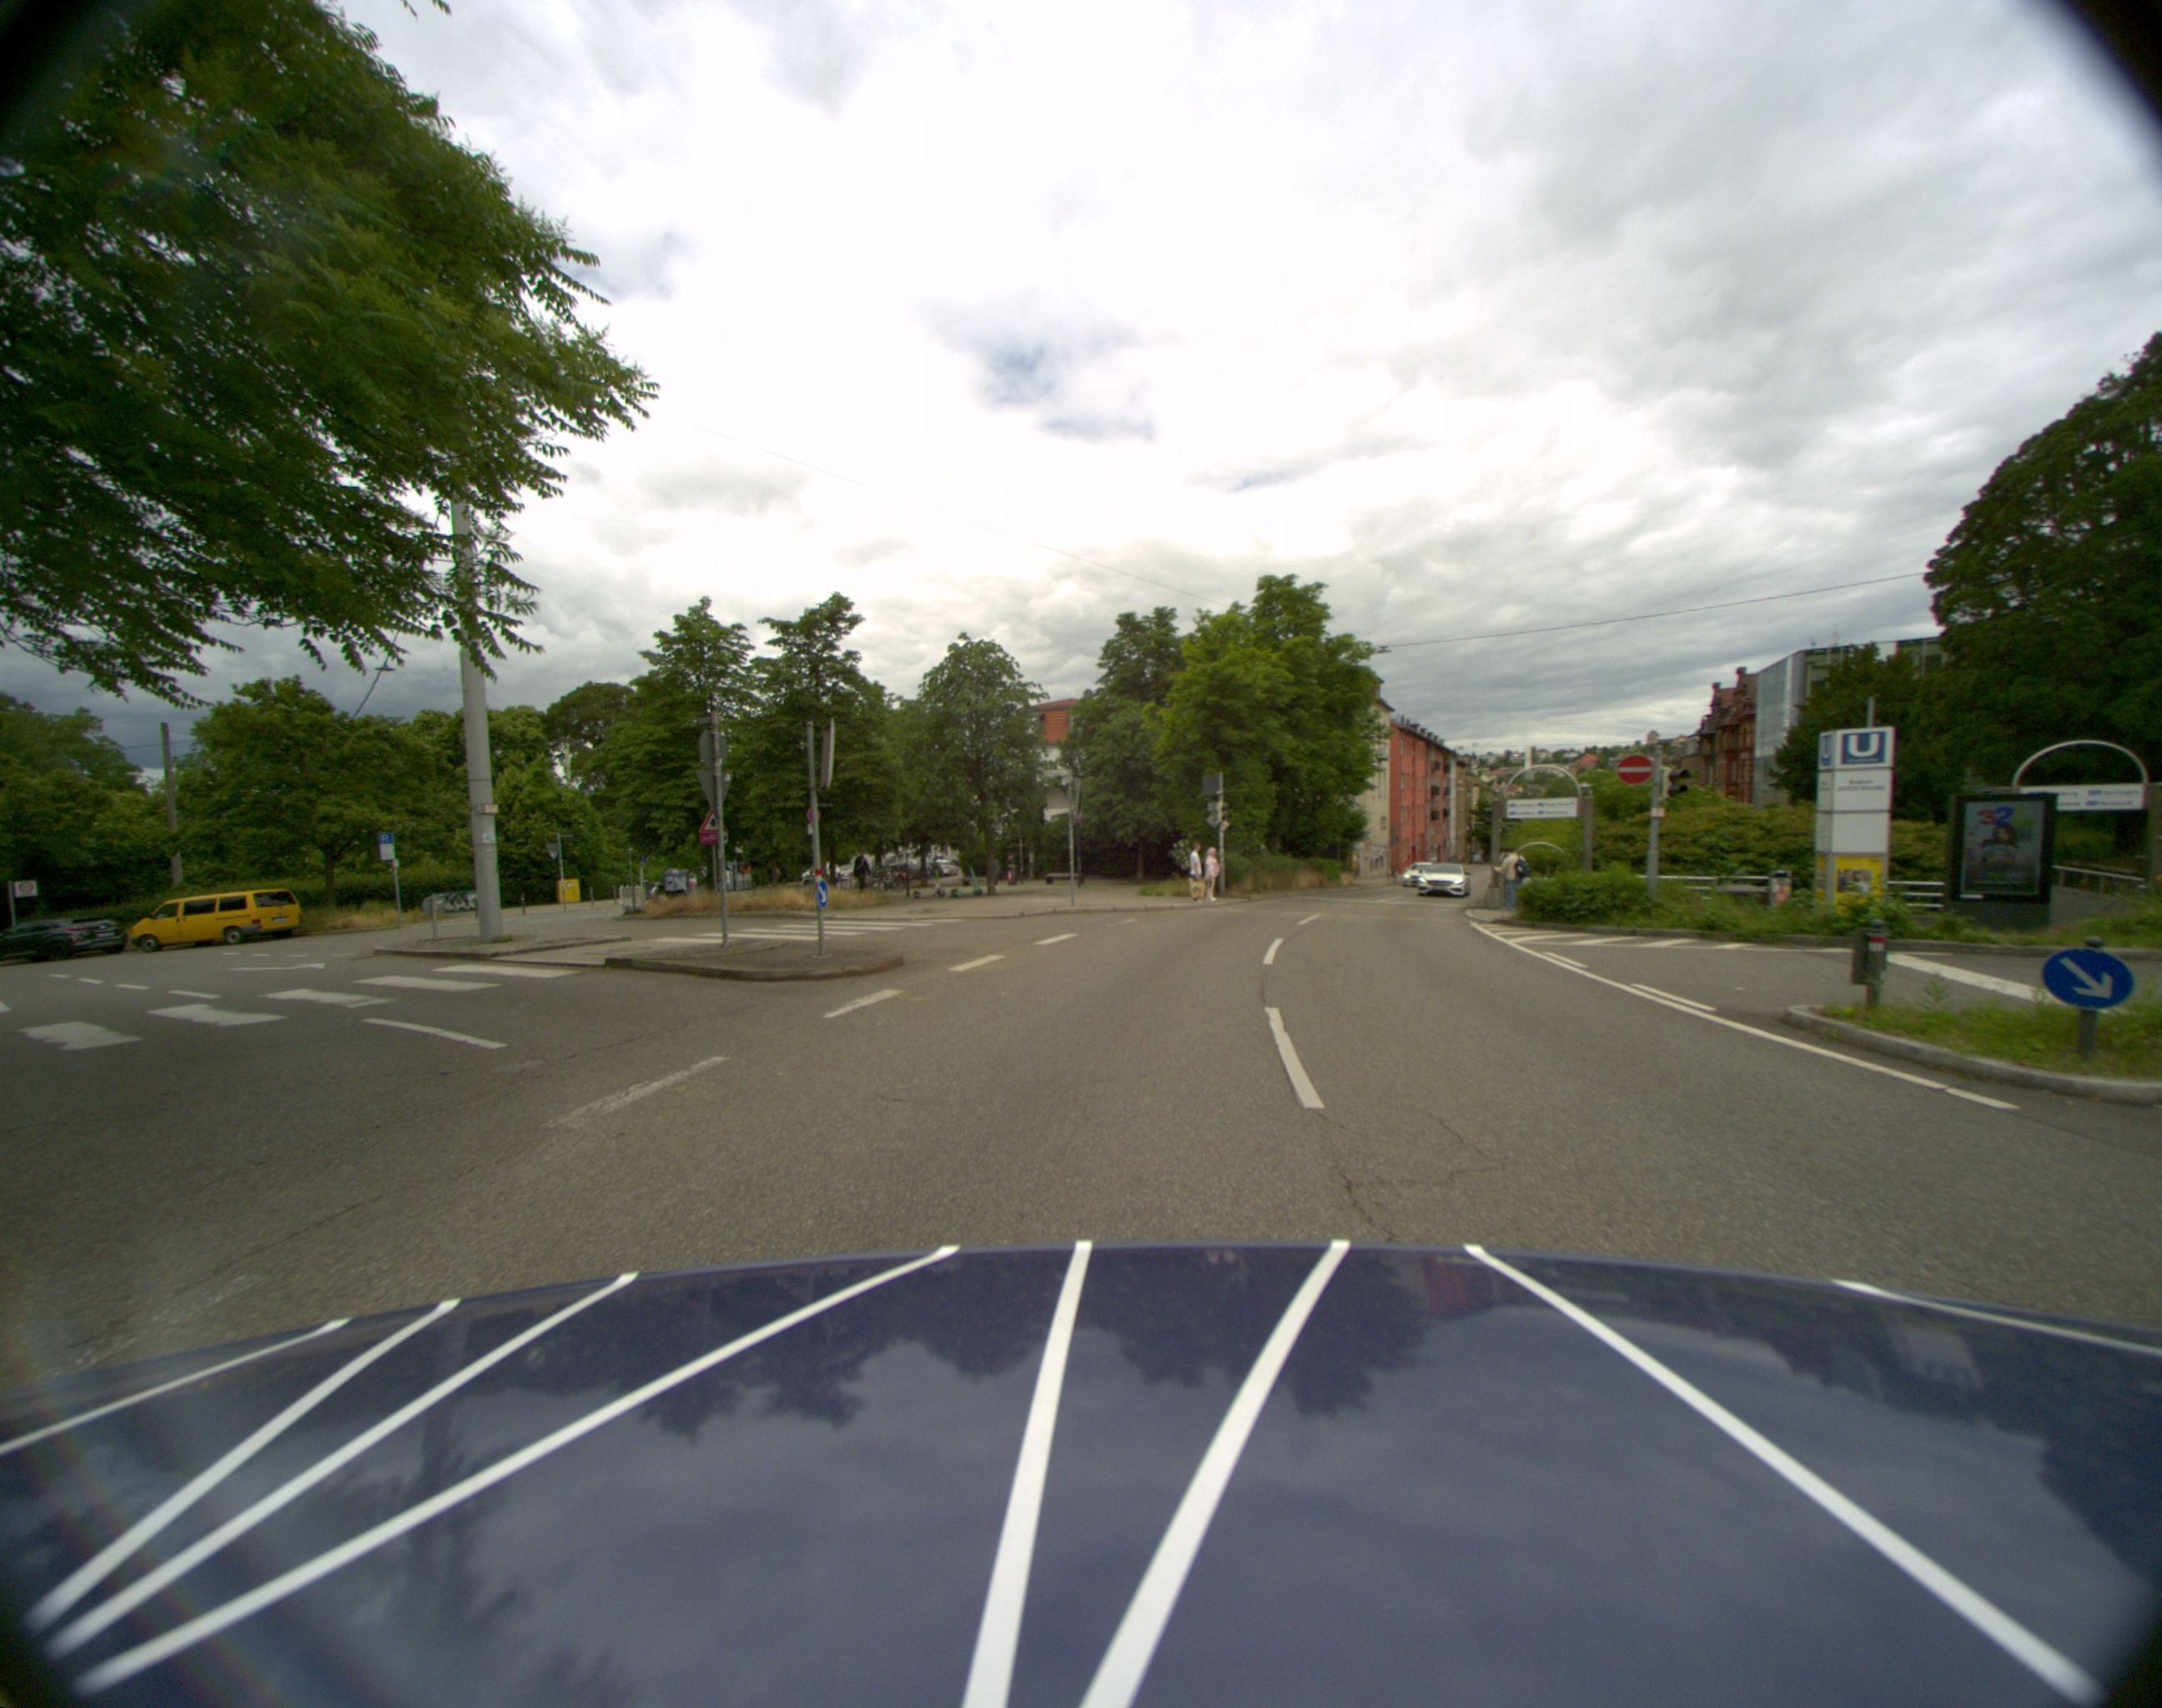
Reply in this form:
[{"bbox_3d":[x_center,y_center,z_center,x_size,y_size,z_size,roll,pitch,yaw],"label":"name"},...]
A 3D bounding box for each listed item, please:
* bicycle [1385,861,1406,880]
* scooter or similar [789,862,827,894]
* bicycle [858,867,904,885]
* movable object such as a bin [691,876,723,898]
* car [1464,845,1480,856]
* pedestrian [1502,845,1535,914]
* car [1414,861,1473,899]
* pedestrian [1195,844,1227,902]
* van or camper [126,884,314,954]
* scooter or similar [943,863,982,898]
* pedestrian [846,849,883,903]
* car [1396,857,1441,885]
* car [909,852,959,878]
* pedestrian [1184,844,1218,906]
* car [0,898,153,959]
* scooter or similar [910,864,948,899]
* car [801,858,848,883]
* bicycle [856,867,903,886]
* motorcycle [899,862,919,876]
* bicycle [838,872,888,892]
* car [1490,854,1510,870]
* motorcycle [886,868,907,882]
[{"bbox_3d":[20.196,1.033,48.831,0.640,1.137,2.066,2,2,7],"label":"bicycle"},{"bbox_3d":[-11.003,0.959,30.671,1.322,1.241,0.463,-2,1,-37],"label":"scooter or similar"},{"bbox_3d":[-13.769,1.498,52.472,2.960,1.139,0.921,-1,0,-44],"label":"bicycle"},{"bbox_3d":[-21.770,1.906,44.189,1.059,1.159,1.317,-1,1,39],"label":"movable object such as a bin"},{"bbox_3d":[61.775,-0.536,120.023,1.858,1.702,4.316,3,2,32],"label":"car"},{"bbox_3d":[11.922,0.681,20.706,0.705,1.850,0.615,0,0,38],"label":"pedestrian"},{"bbox_3d":[15.505,1.049,32.401,1.994,1.390,4.238,3,2,28],"label":"car"},{"bbox_3d":[3.906,0.561,22.796,0.615,1.703,0.728,3,2,35],"label":"pedestrian"},{"bbox_3d":[-31.783,2.372,28.167,4.468,1.967,1.889,-5,3,-2],"label":"van or camper"},{"bbox_3d":[-4.228,0.943,27.136,1.246,1.219,0.501,-2,1,10],"label":"scooter or similar"},{"bbox_3d":[-7.678,0.773,26.936,0.859,1.875,0.962,-2,1,-41],"label":"pedestrian"},{"bbox_3d":[20.054,0.984,45.039,1.995,1.479,4.238,-2,-1,30],"label":"car"},{"bbox_3d":[-12.006,0.867,62.273,3.787,2.002,1.999,-1,0,-6],"label":"car"},{"bbox_3d":[3.369,0.575,21.299,0.615,1.703,0.728,3,2,35],"label":"pedestrian"},{"bbox_3d":[-37.510,2.707,27.966,3.998,2.002,1.999,-1,0,-4],"label":"car"},{"bbox_3d":[-5.616,1.015,28.130,1.246,1.219,0.501,-2,1,10],"label":"scooter or similar"},{"bbox_3d":[-20.999,1.289,62.402,1.998,1.892,4.715,-1,0,3],"label":"car"},{"bbox_3d":[-13.583,1.490,51.309,2.960,1.139,0.921,-1,0,-44],"label":"bicycle"},{"bbox_3d":[-12.993,1.129,57.442,0.754,1.027,2.057,-1,0,11],"label":"motorcycle"},{"bbox_3d":[-14.076,1.797,49.147,2.960,1.139,0.921,-1,0,-44],"label":"bicycle"},{"bbox_3d":[50.356,0.938,91.252,1.877,1.728,4.008,1,1,32],"label":"car"},{"bbox_3d":[-13.937,1.565,57.505,0.754,1.027,2.057,-1,0,11],"label":"motorcycle"}]
